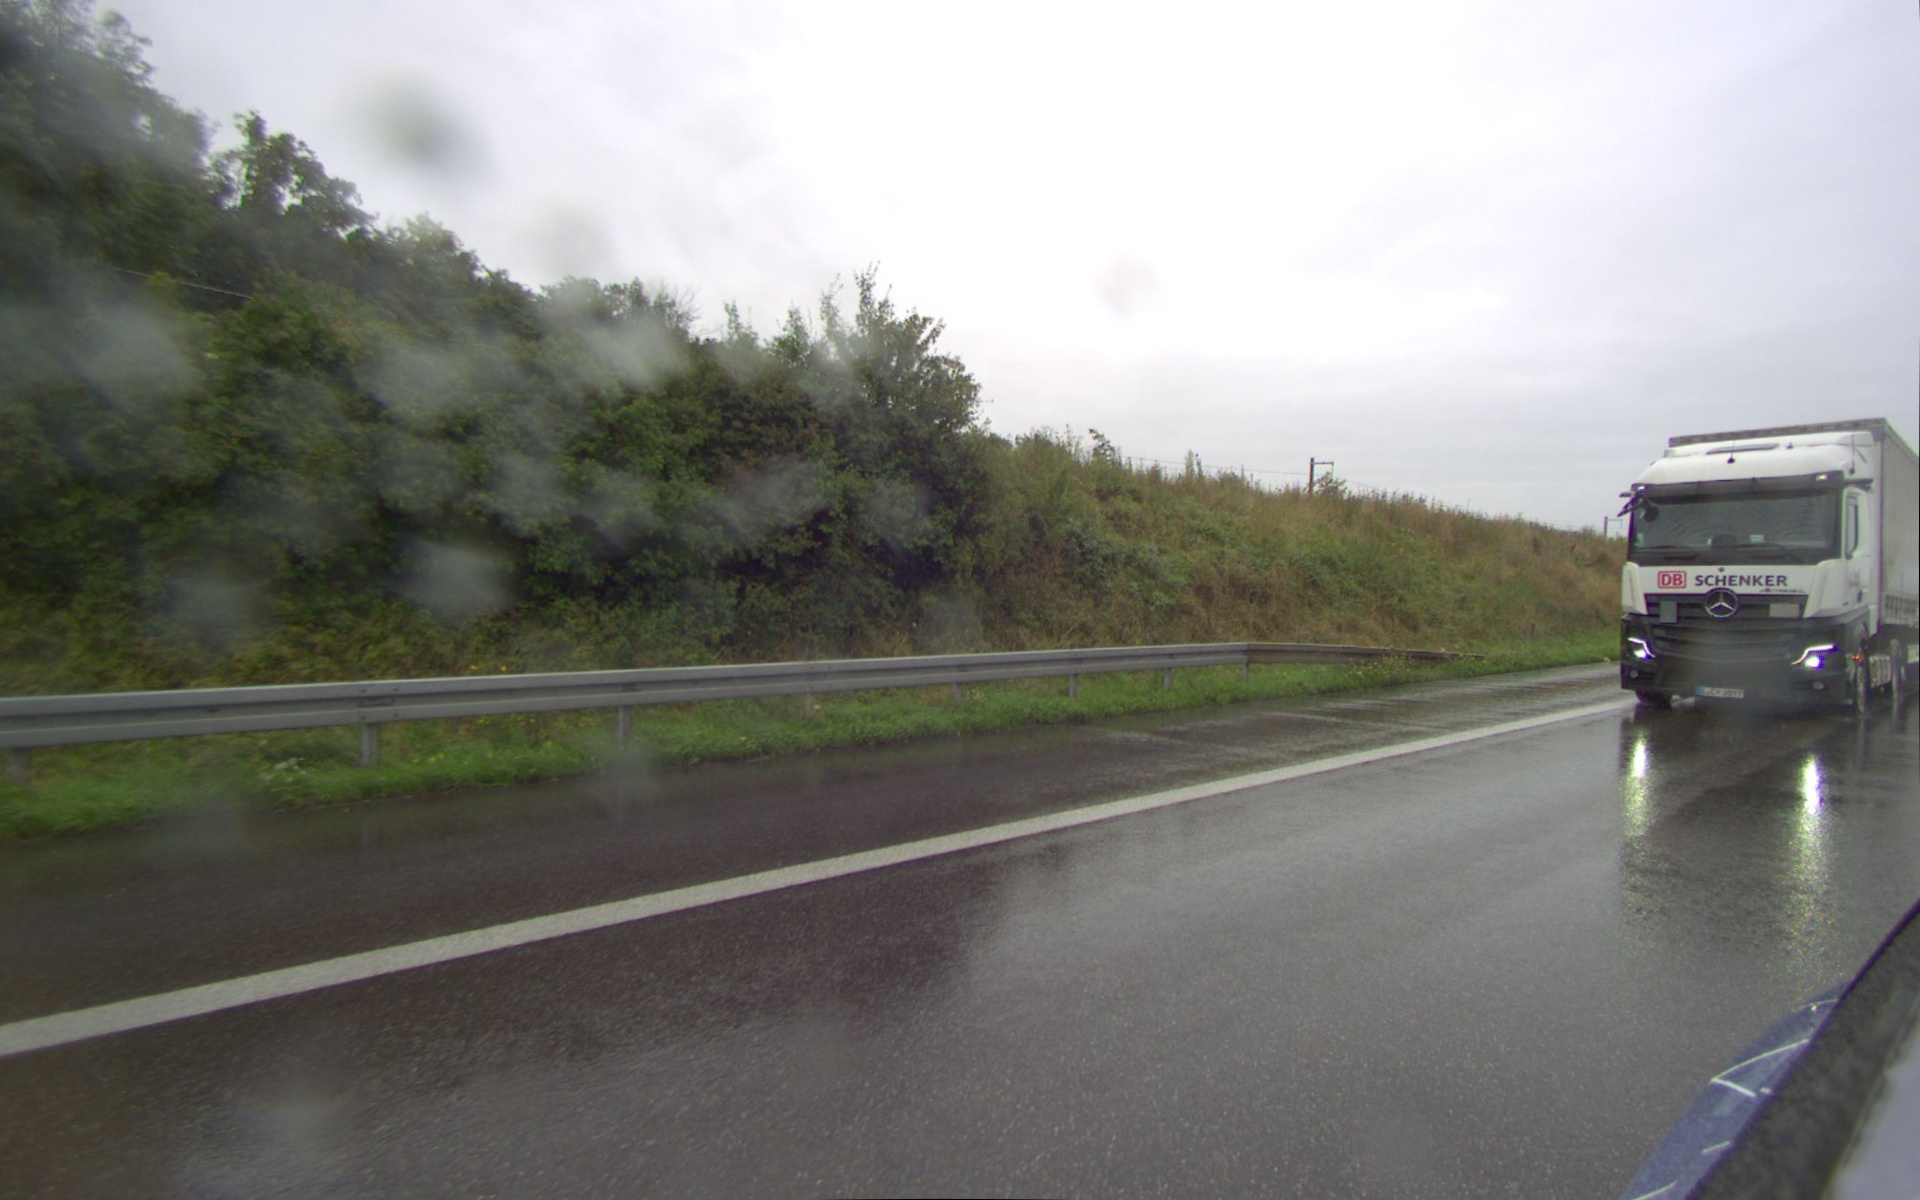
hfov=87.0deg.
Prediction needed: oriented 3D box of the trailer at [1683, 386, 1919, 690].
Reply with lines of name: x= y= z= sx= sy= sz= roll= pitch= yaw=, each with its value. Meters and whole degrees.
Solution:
trailer: x=17.729 y=-0.943 z=19.920 sx=13.930 sy=4.302 sz=2.631 roll=-1 pitch=0 yaw=-41

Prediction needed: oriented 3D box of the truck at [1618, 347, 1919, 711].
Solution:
truck: x=11.790 y=-0.872 z=14.636 sx=4.957 sy=4.307 sz=2.630 roll=0 pitch=0 yaw=-42
